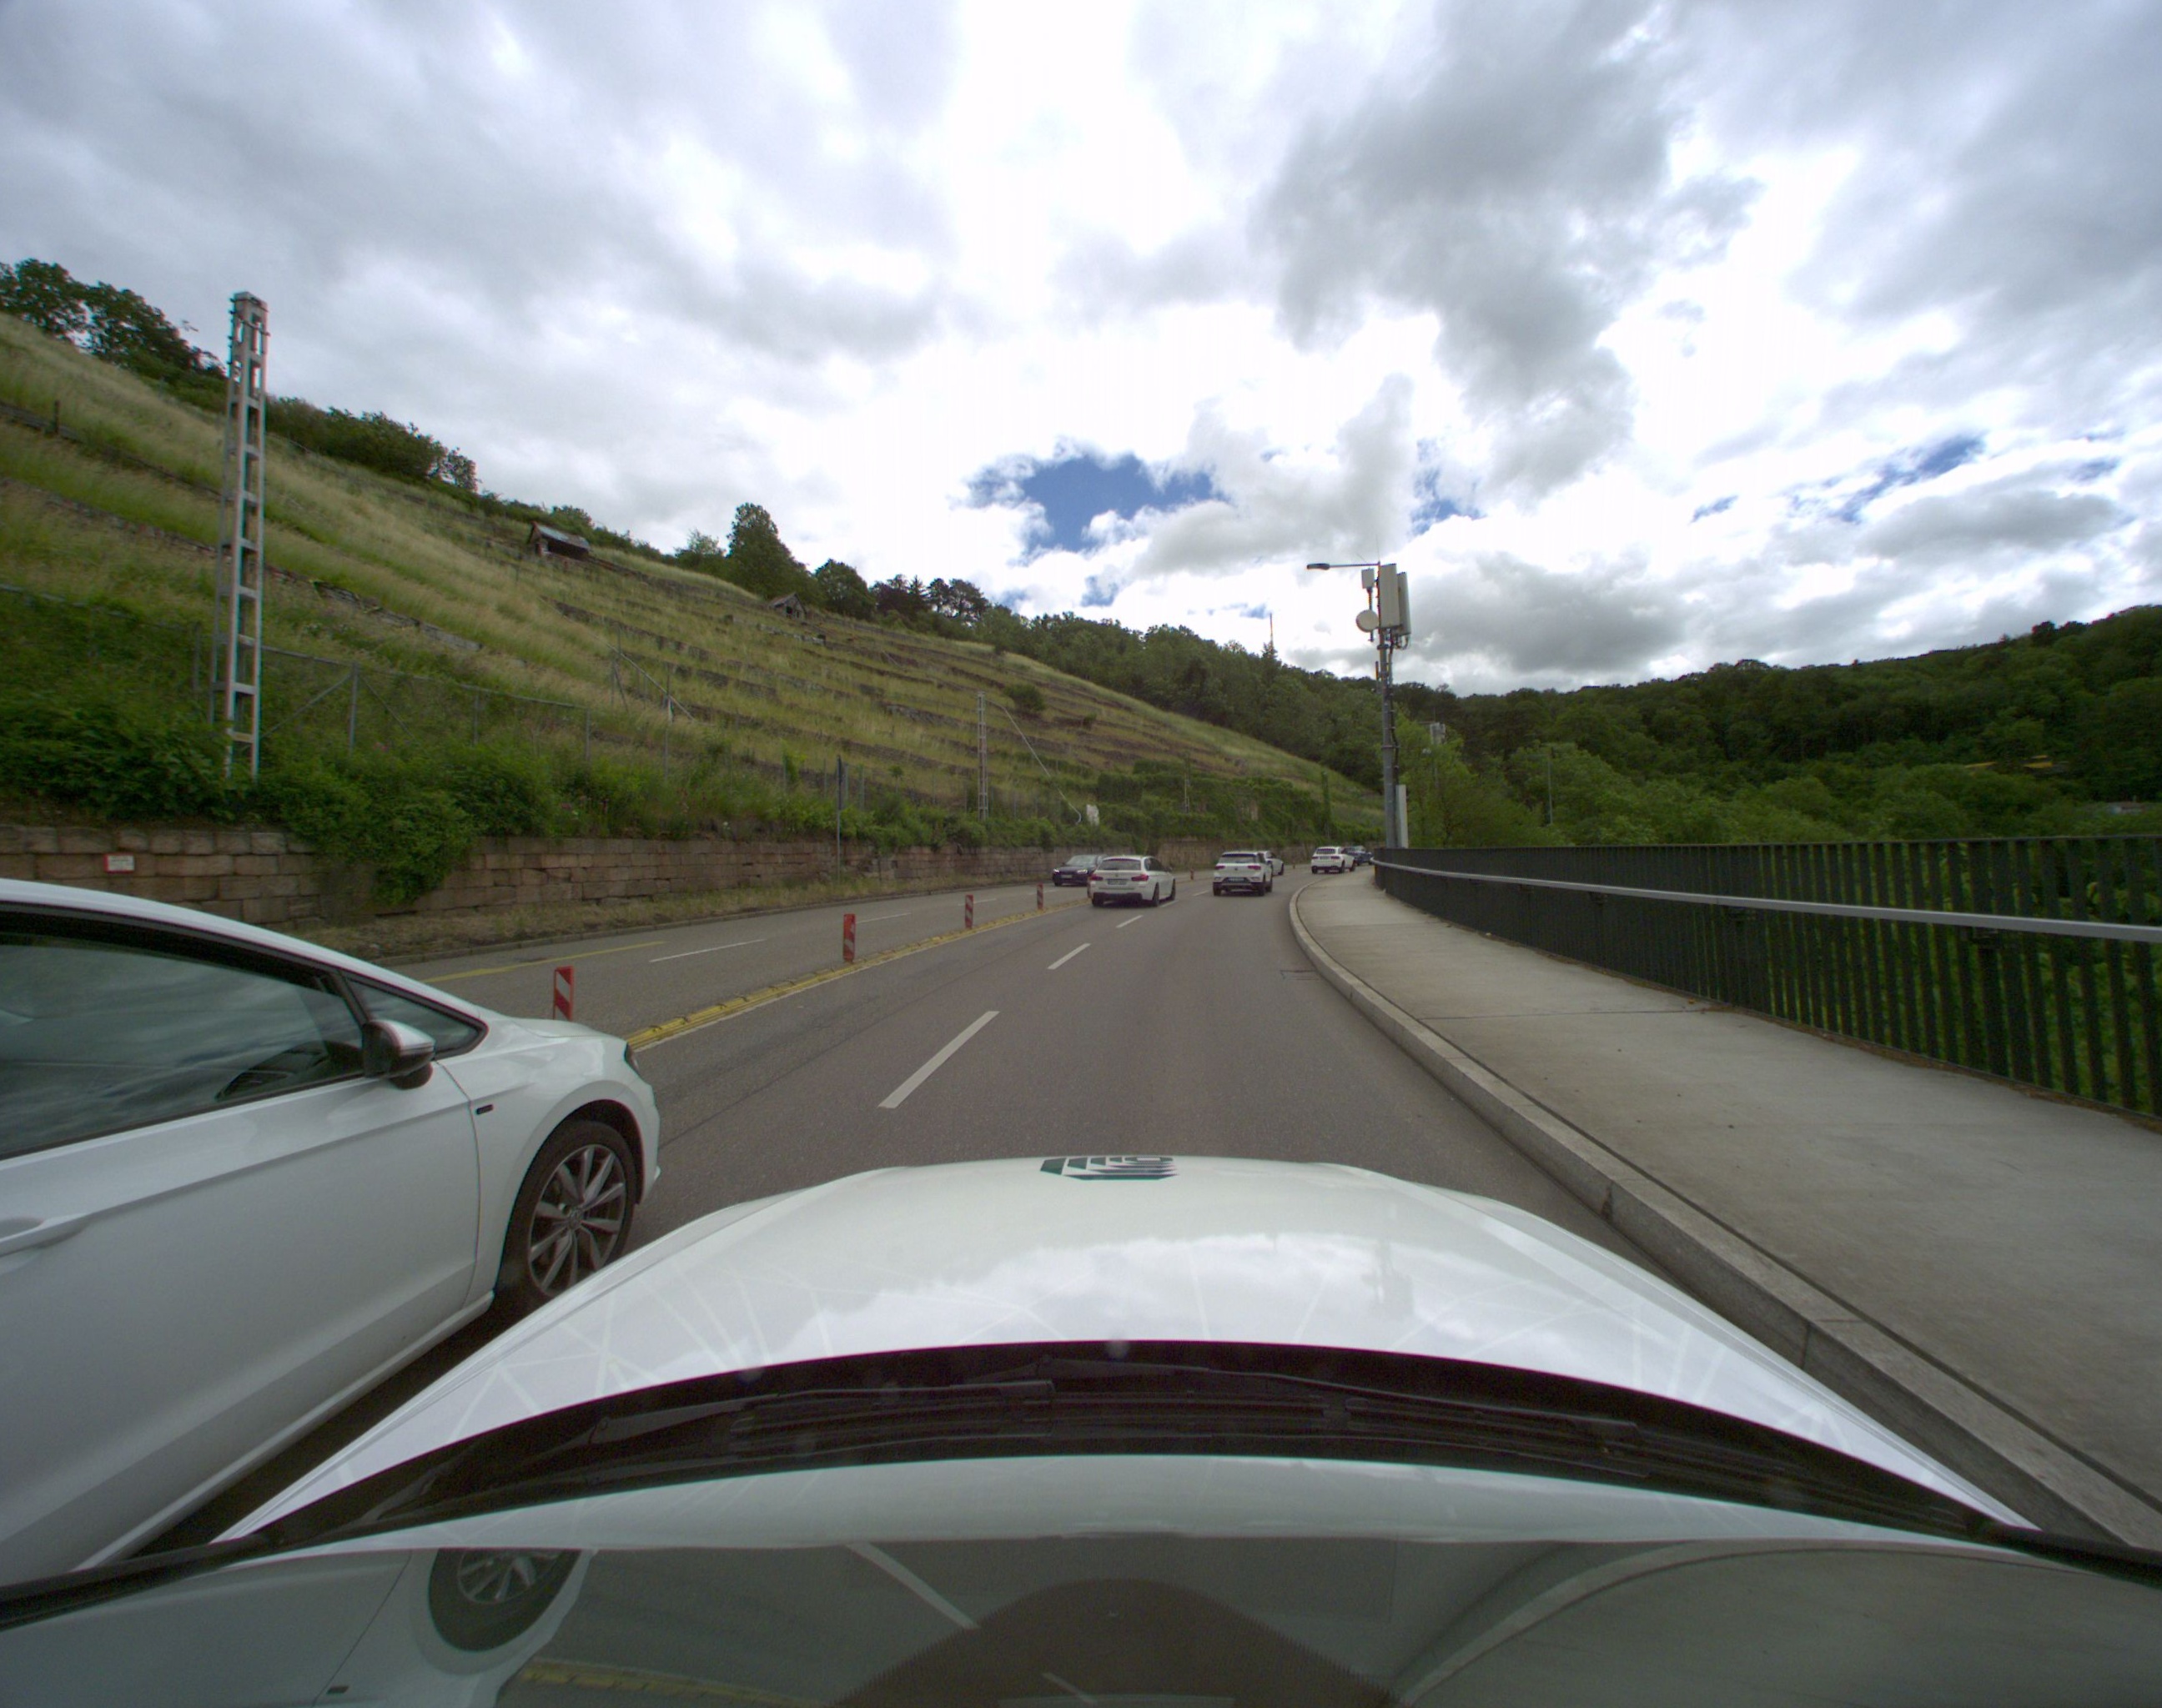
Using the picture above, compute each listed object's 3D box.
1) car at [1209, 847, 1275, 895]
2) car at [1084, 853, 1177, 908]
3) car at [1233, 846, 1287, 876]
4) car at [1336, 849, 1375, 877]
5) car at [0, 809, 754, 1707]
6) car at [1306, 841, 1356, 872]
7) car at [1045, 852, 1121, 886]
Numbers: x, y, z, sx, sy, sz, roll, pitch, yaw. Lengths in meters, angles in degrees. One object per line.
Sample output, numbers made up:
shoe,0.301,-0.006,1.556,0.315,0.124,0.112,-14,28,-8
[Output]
car,5.906,0.576,29.542,1.813,1.605,4.019,1,0,19
car,1.582,0.716,24.297,1.814,1.459,4.505,0,0,16
car,10.190,0.345,46.162,1.975,1.503,4.695,1,1,25
car,21.621,0.721,64.095,1.974,2.014,4.025,-5,-2,30
car,-2.579,0.725,1.616,1.813,1.580,4.361,0,0,4
car,15.346,0.186,49.785,1.974,1.718,4.139,-3,-3,30
car,0.178,0.627,36.809,1.834,1.413,4.440,0,0,23
